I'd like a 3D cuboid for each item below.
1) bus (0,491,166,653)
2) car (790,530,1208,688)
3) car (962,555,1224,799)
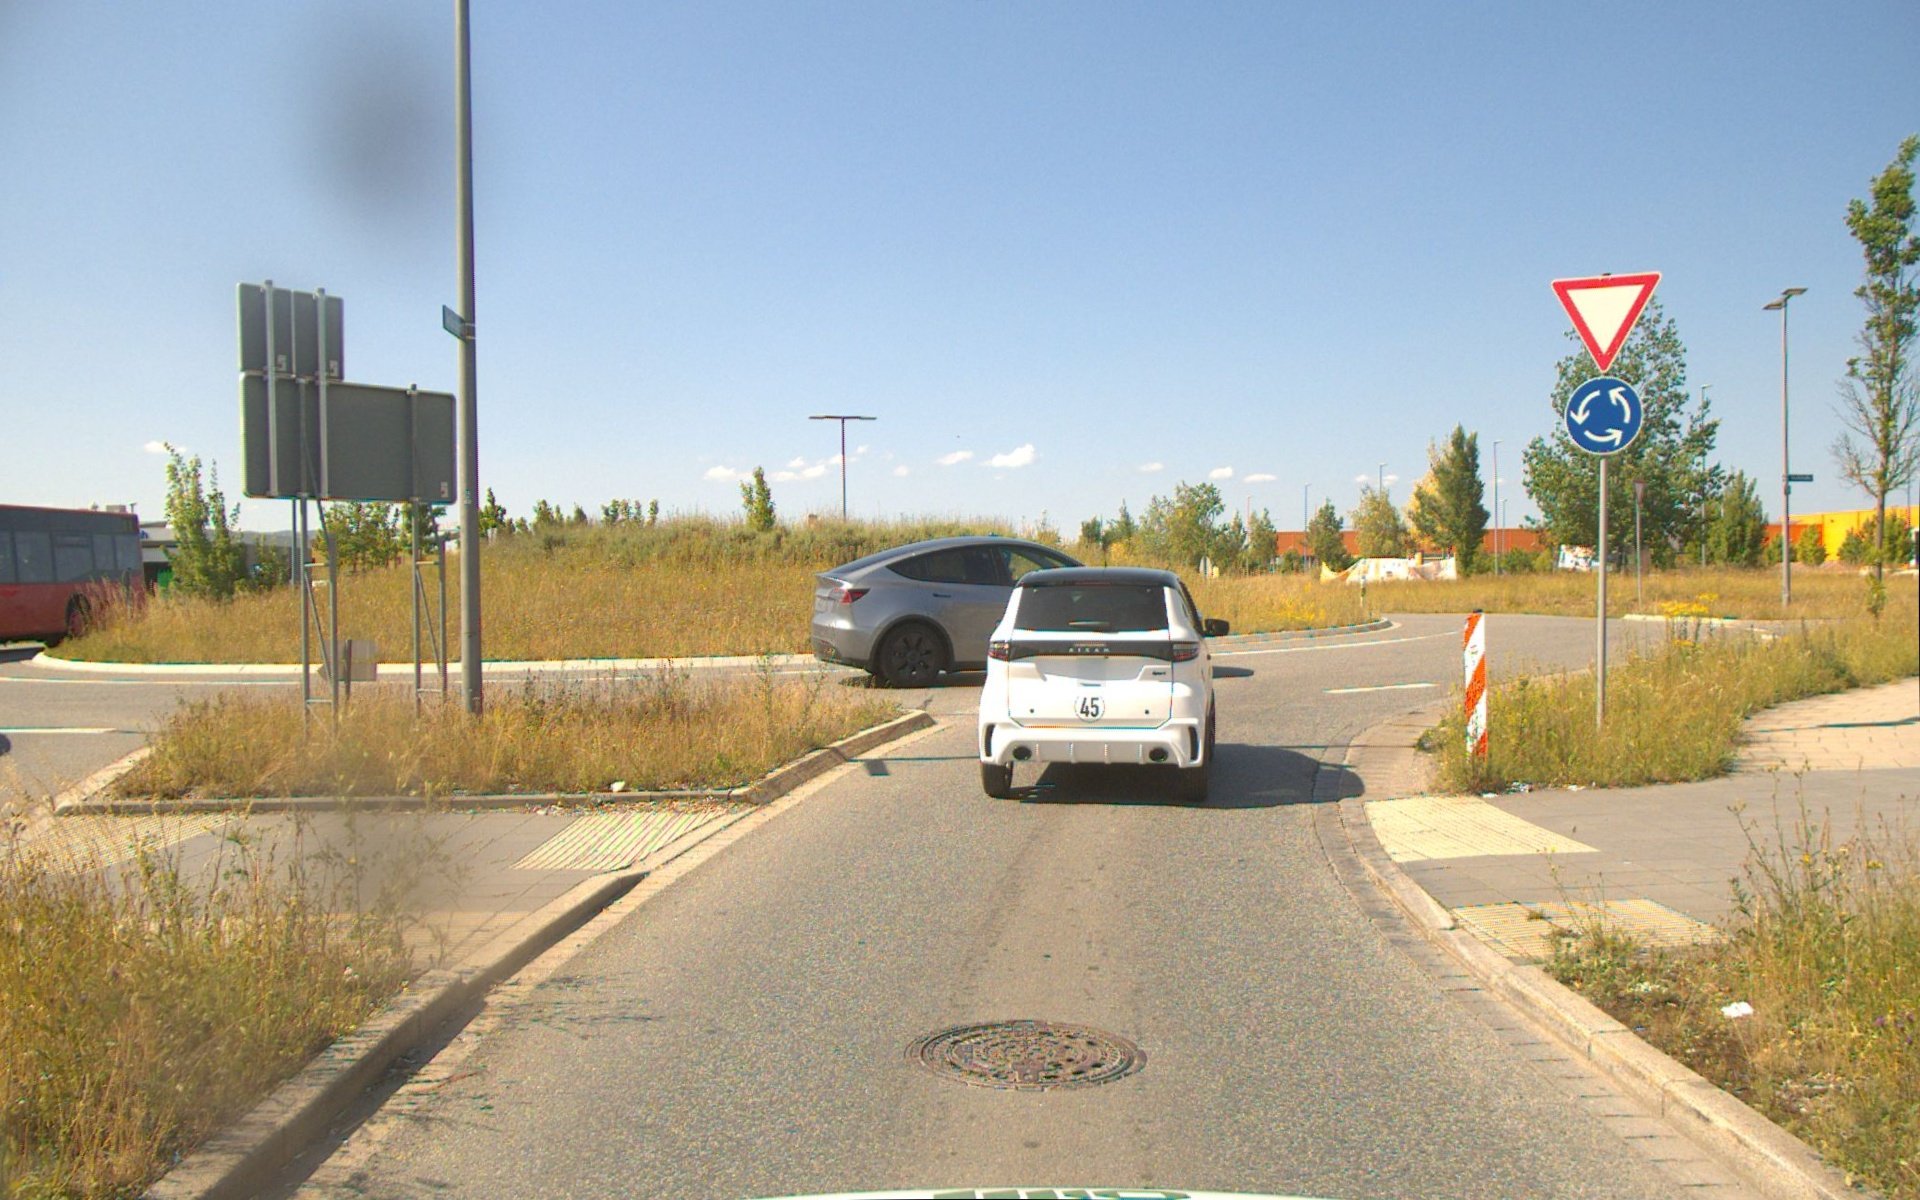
[{"bbox_3d":[-19.947,-0.515,32.750,2.731,3.132,12.201,-2,2,-1],"label":"bus"},{"bbox_3d":[0.413,0.045,19.285,4.532,1.654,1.956,-1,2,-15],"label":"car"},{"bbox_3d":[1.114,0.429,12.092,1.582,1.459,3.796,-1,2,9],"label":"car"}]
